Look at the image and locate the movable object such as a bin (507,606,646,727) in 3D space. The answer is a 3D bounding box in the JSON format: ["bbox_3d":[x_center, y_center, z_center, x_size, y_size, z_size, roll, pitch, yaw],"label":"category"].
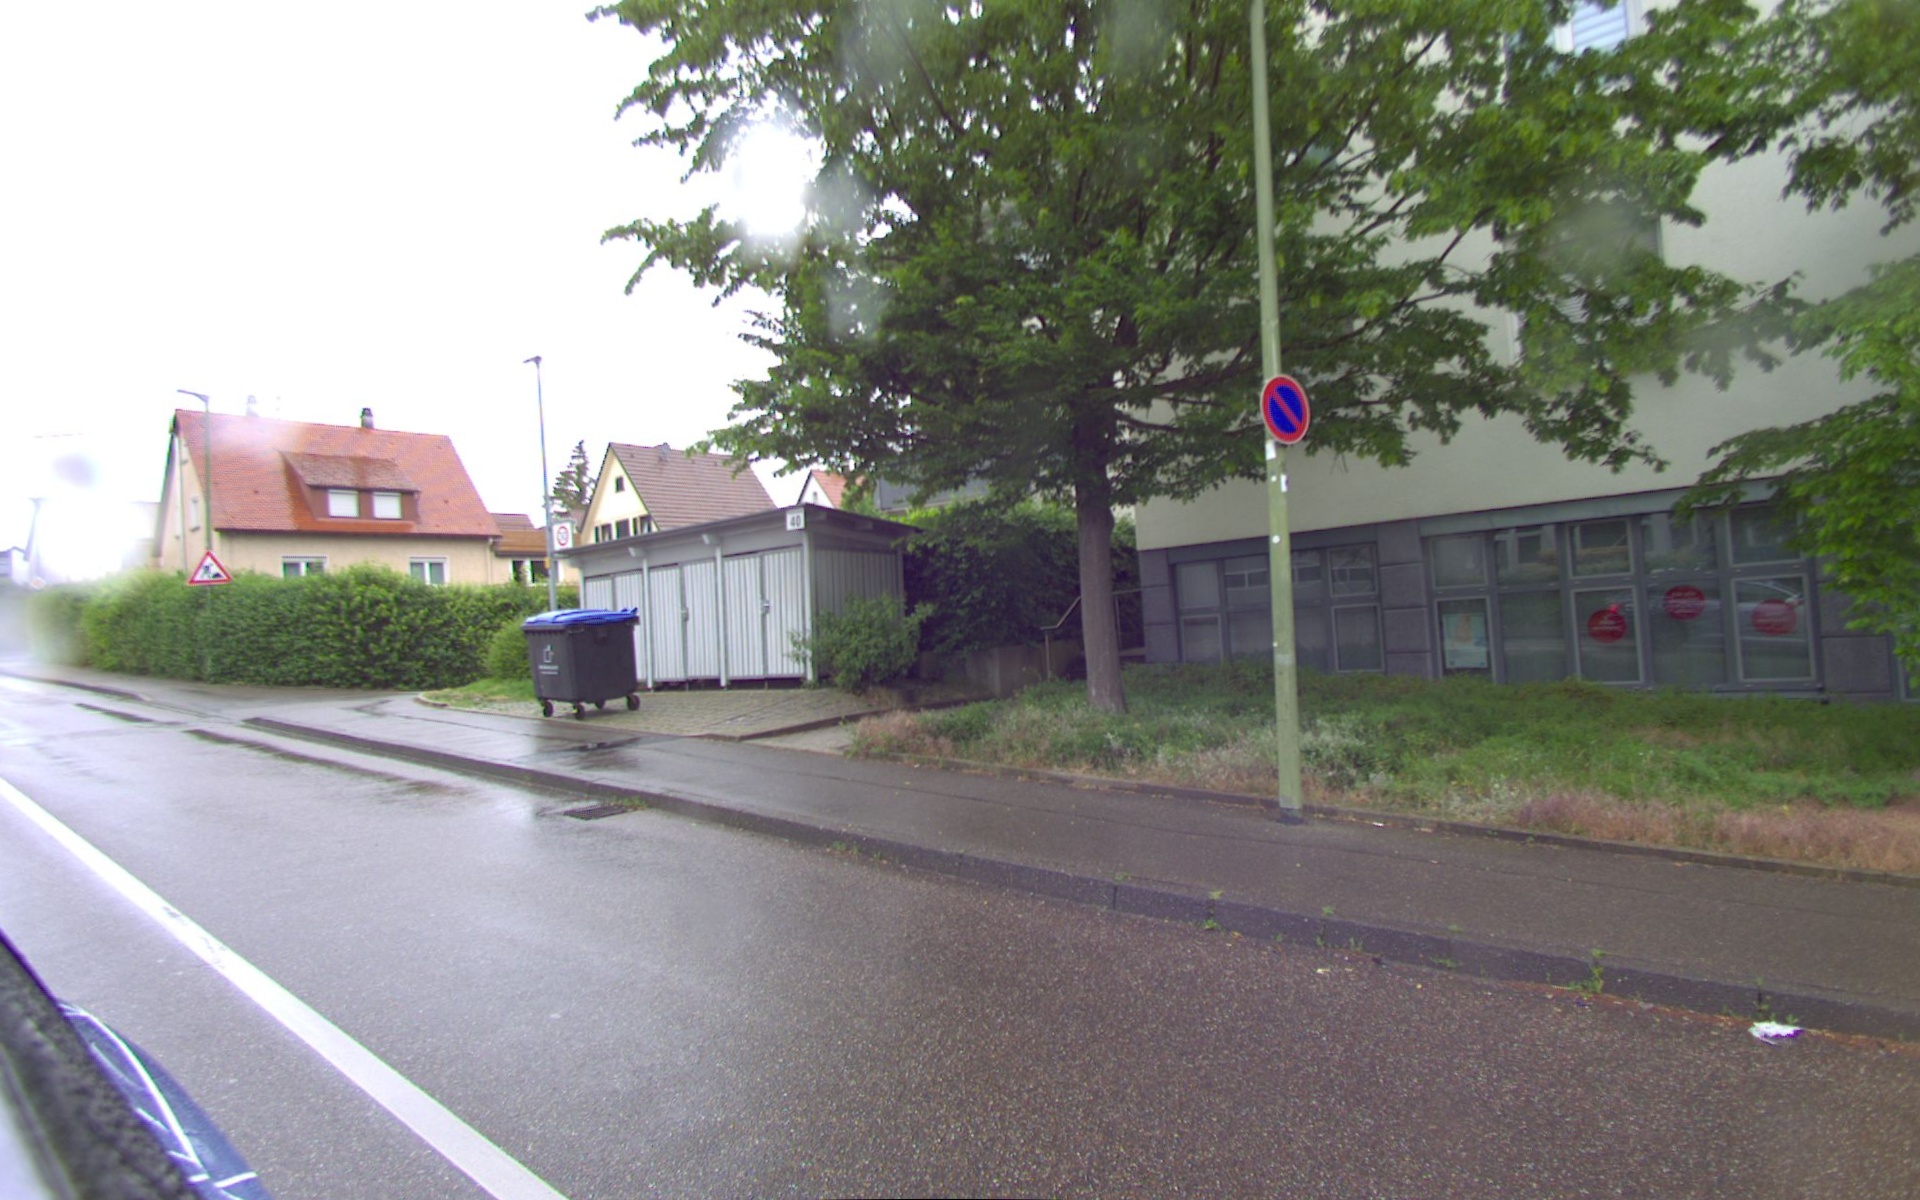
[{"bbox_3d":[-4.808,0.801,12.679,1.317,1.357,1.061,-2,1,39],"label":"movable object such as a bin"}]
